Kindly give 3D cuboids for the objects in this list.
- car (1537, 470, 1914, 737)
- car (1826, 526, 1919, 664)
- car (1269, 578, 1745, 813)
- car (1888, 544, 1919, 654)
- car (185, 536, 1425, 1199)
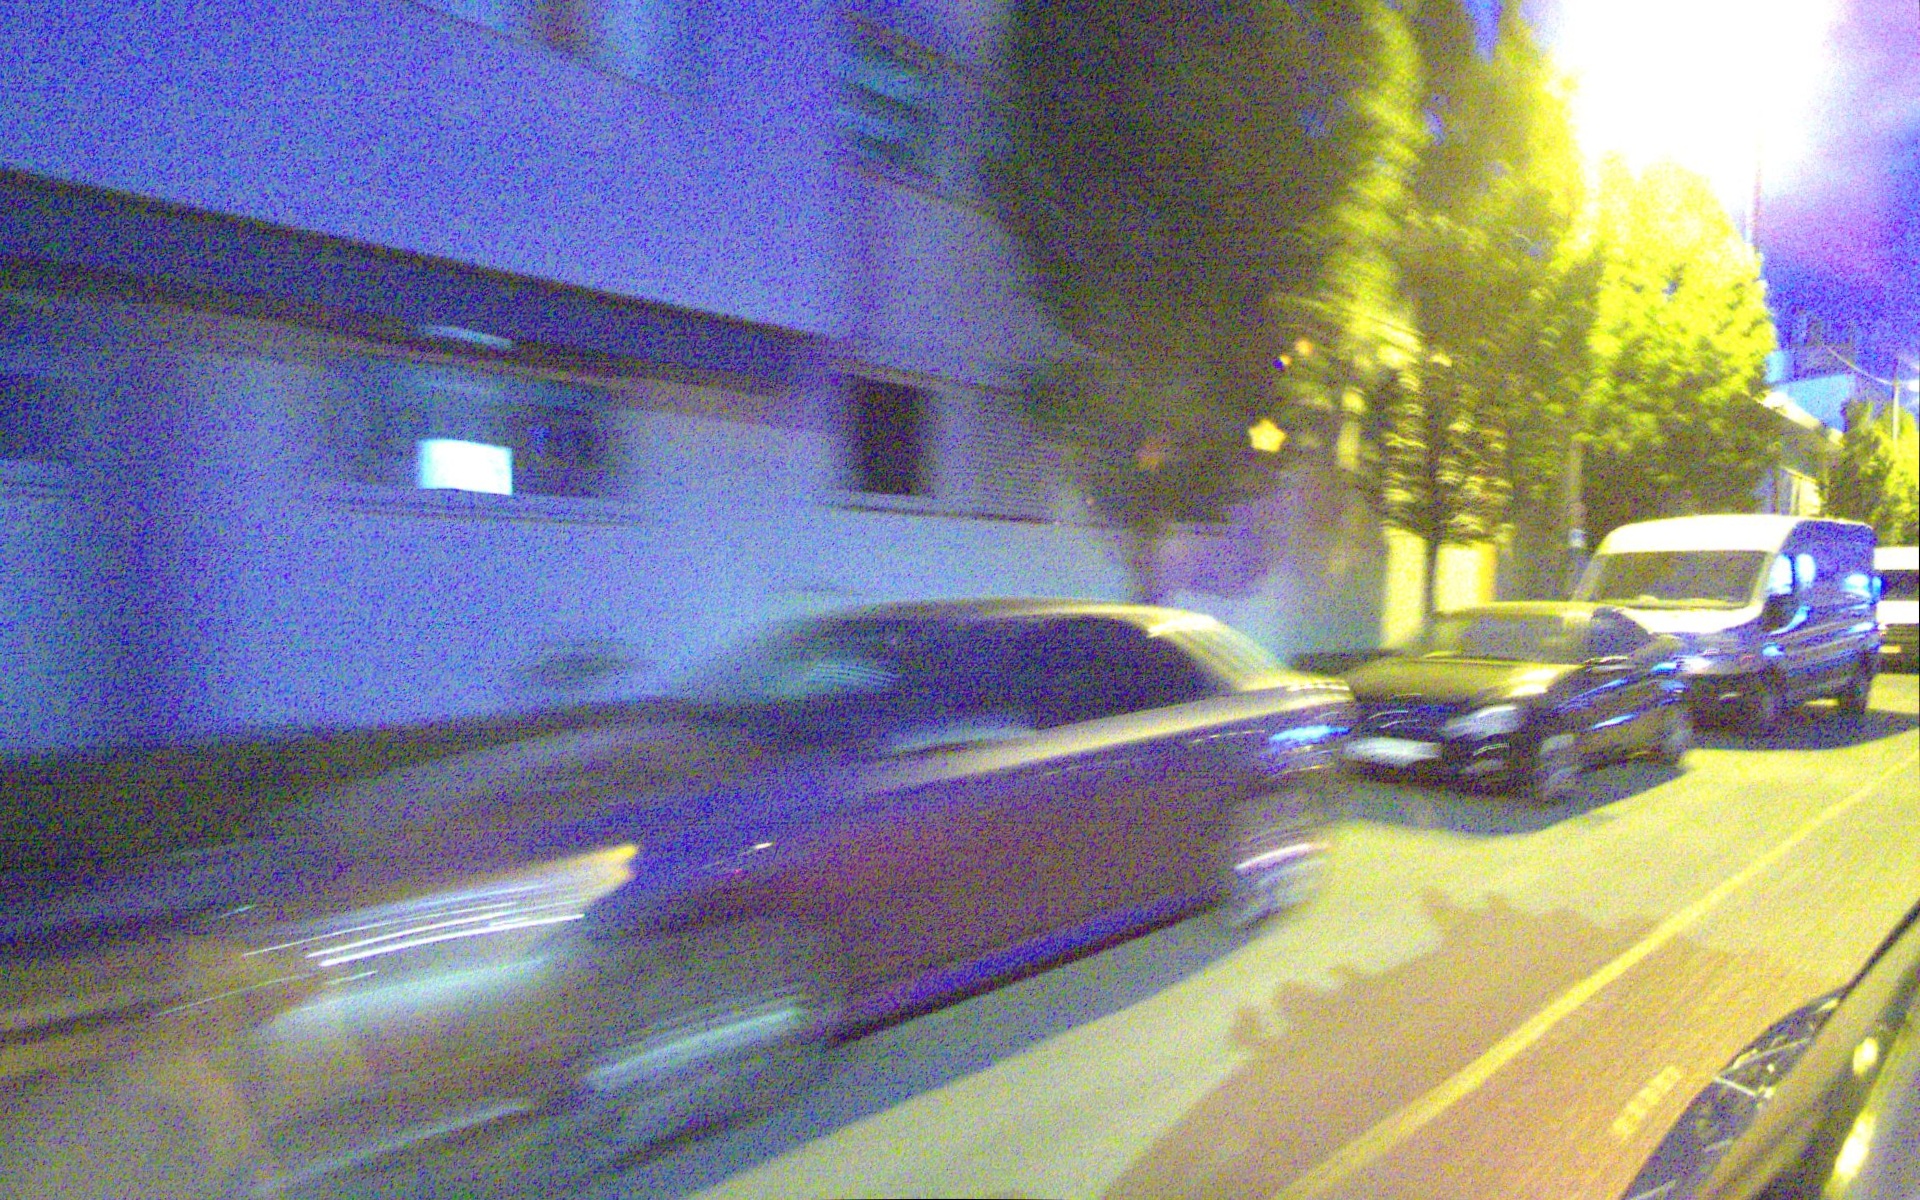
[{"bbox_3d":[9.406,0.050,12.219,5.798,2.558,1.999,0,-2,-36],"label":"car"},{"bbox_3d":[20.107,-0.093,21.316,5.809,2.604,2.130,0,-2,-43],"label":"car"},{"bbox_3d":[4.646,0.576,8.313,4.466,1.430,1.774,0,1,-38],"label":"car"},{"bbox_3d":[25.292,-0.044,25.529,5.907,2.604,1.997,0,-2,-40],"label":"car"},{"bbox_3d":[-0.215,0.601,4.349,4.918,1.508,1.952,0,1,-38],"label":"car"}]
